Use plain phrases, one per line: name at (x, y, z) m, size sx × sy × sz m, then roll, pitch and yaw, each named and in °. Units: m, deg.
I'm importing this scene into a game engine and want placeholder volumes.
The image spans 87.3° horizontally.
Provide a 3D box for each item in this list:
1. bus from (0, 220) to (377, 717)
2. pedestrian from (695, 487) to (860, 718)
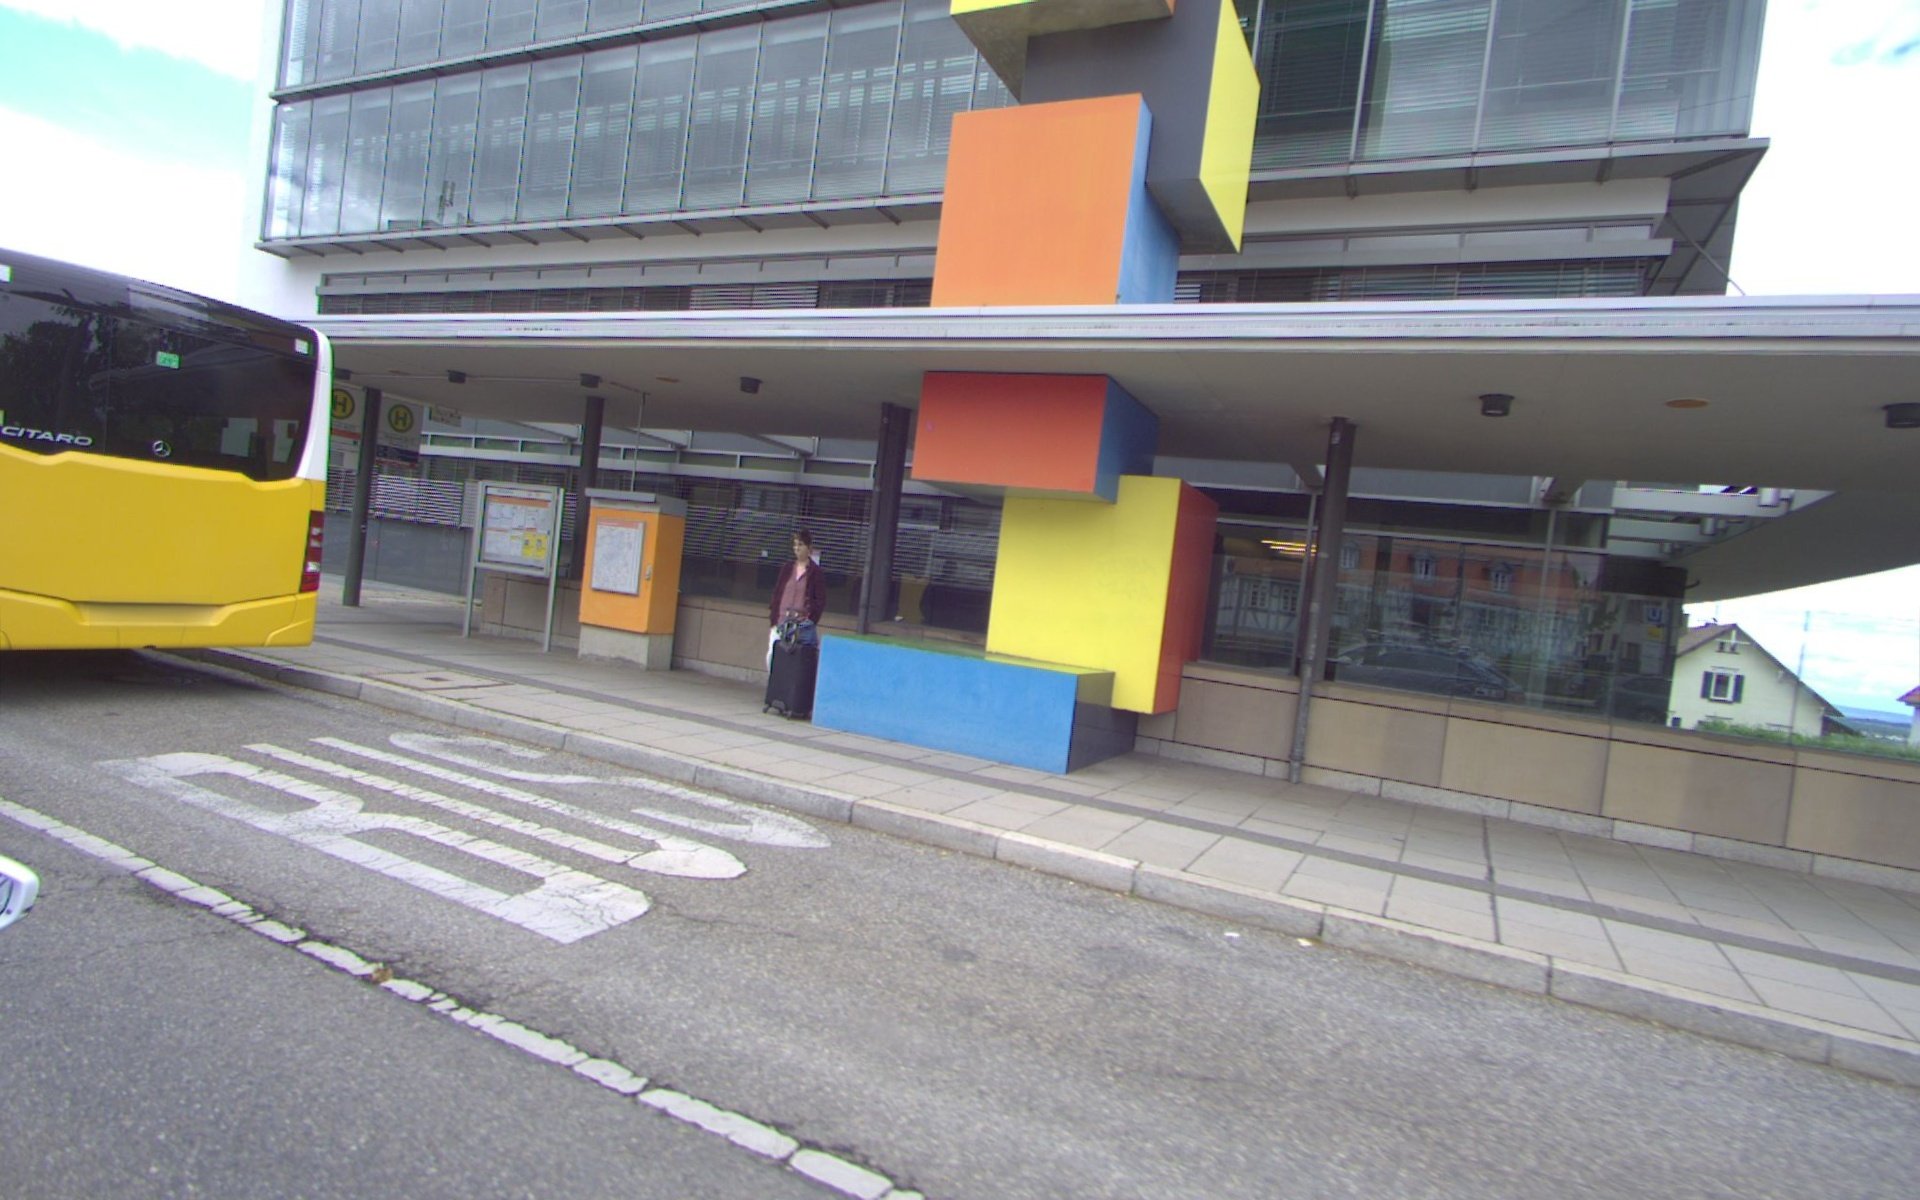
bus at (-9.486, -1.210, 9.351) m, size 8.716 × 3.149 × 2.716 m, roll 7°, pitch 1°, yaw 28°
pedestrian at (-1.739, 0.027, 9.714) m, size 0.865 × 2.040 × 1.141 m, roll 7°, pitch 2°, yaw 28°
